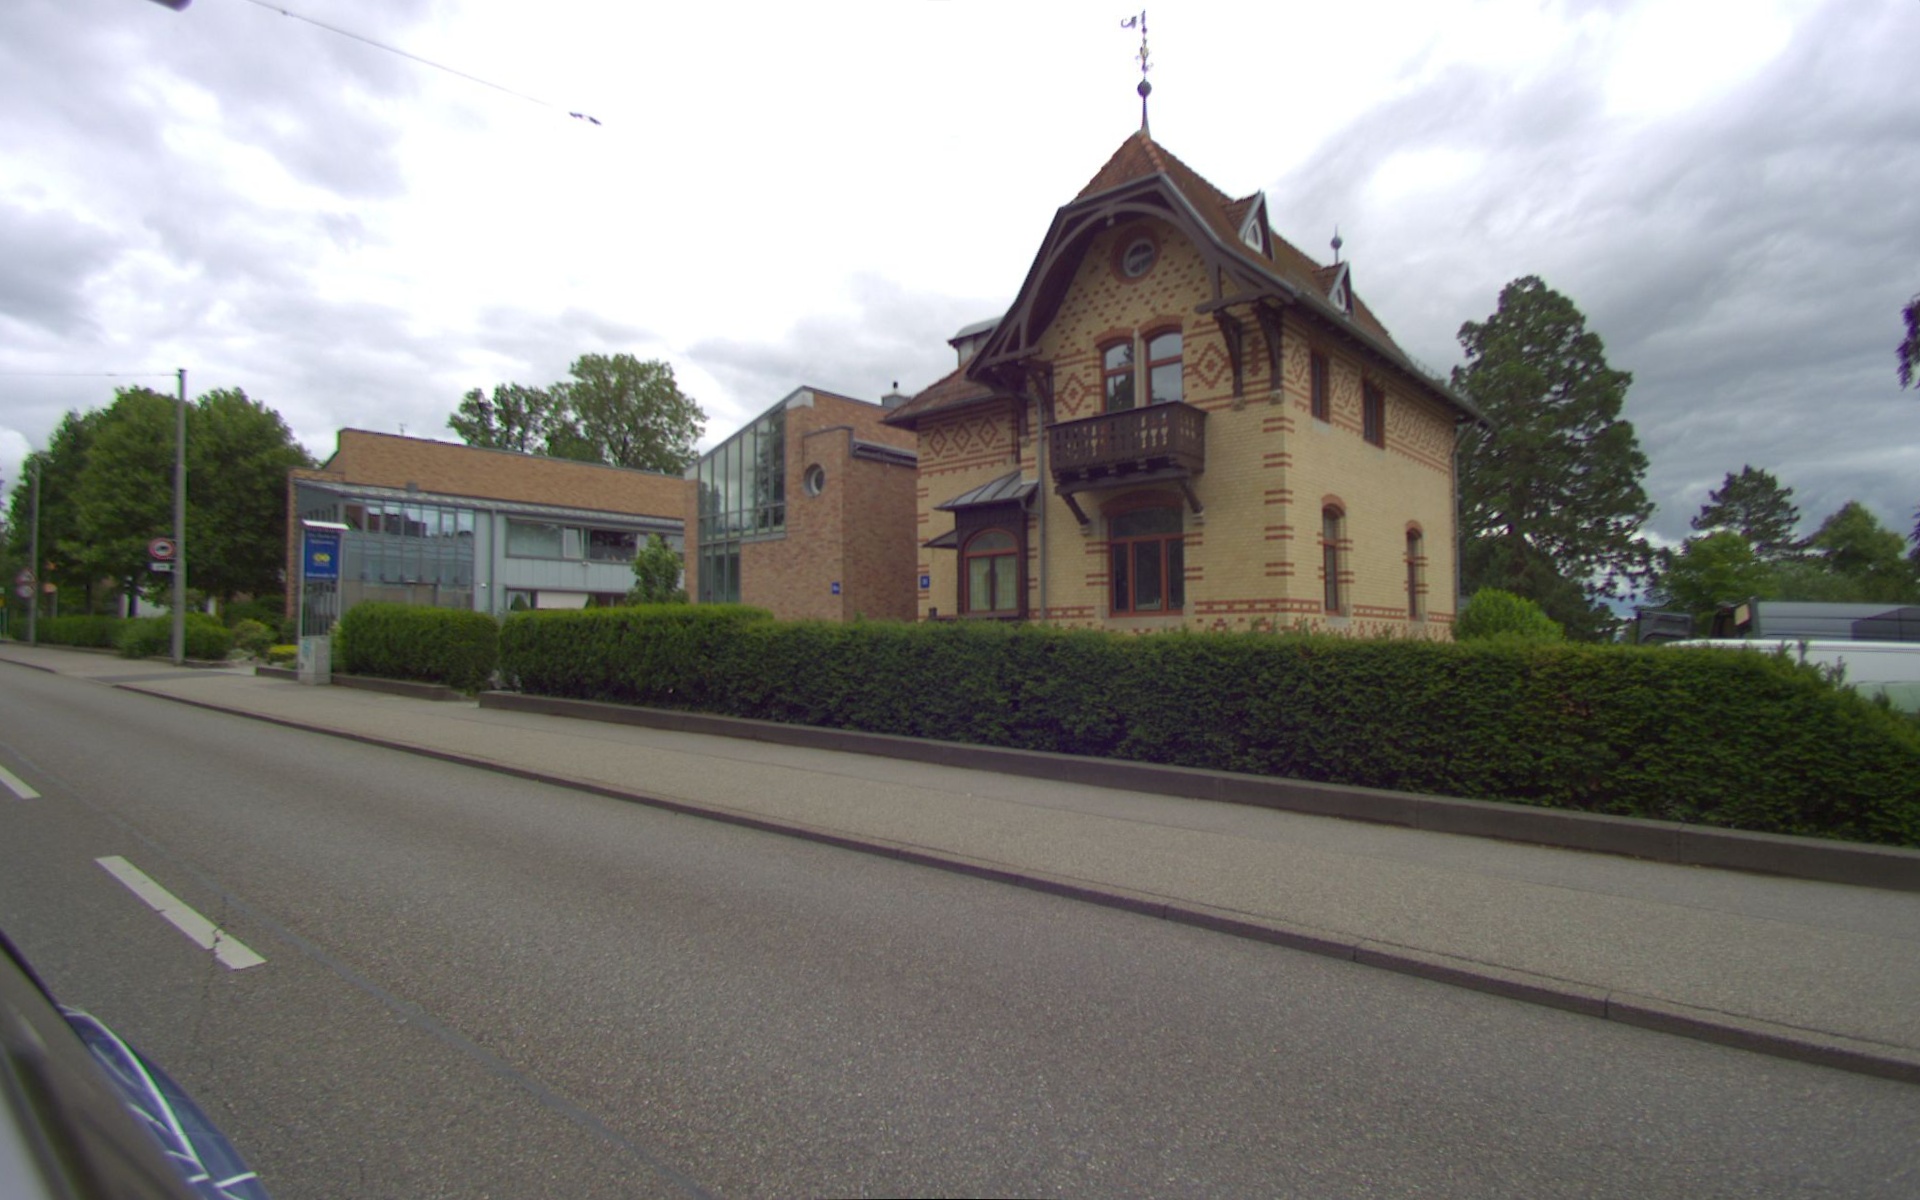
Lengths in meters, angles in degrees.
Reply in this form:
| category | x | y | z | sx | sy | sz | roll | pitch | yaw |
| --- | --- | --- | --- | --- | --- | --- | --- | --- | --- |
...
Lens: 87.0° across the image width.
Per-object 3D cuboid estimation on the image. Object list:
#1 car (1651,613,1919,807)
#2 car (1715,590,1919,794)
| category | x | y | z | sx | sy | sz | roll | pitch | yaw |
| --- | --- | --- | --- | --- | --- | --- | --- | --- | --- |
| car | 10.892 | 1.219 | 11.723 | 4.598 | 2.085 | 1.875 | -1 | -2 | 31 |
| car | 13.862 | 1.215 | 13.541 | 5.692 | 2.639 | 1.982 | -1 | -2 | 27 |
